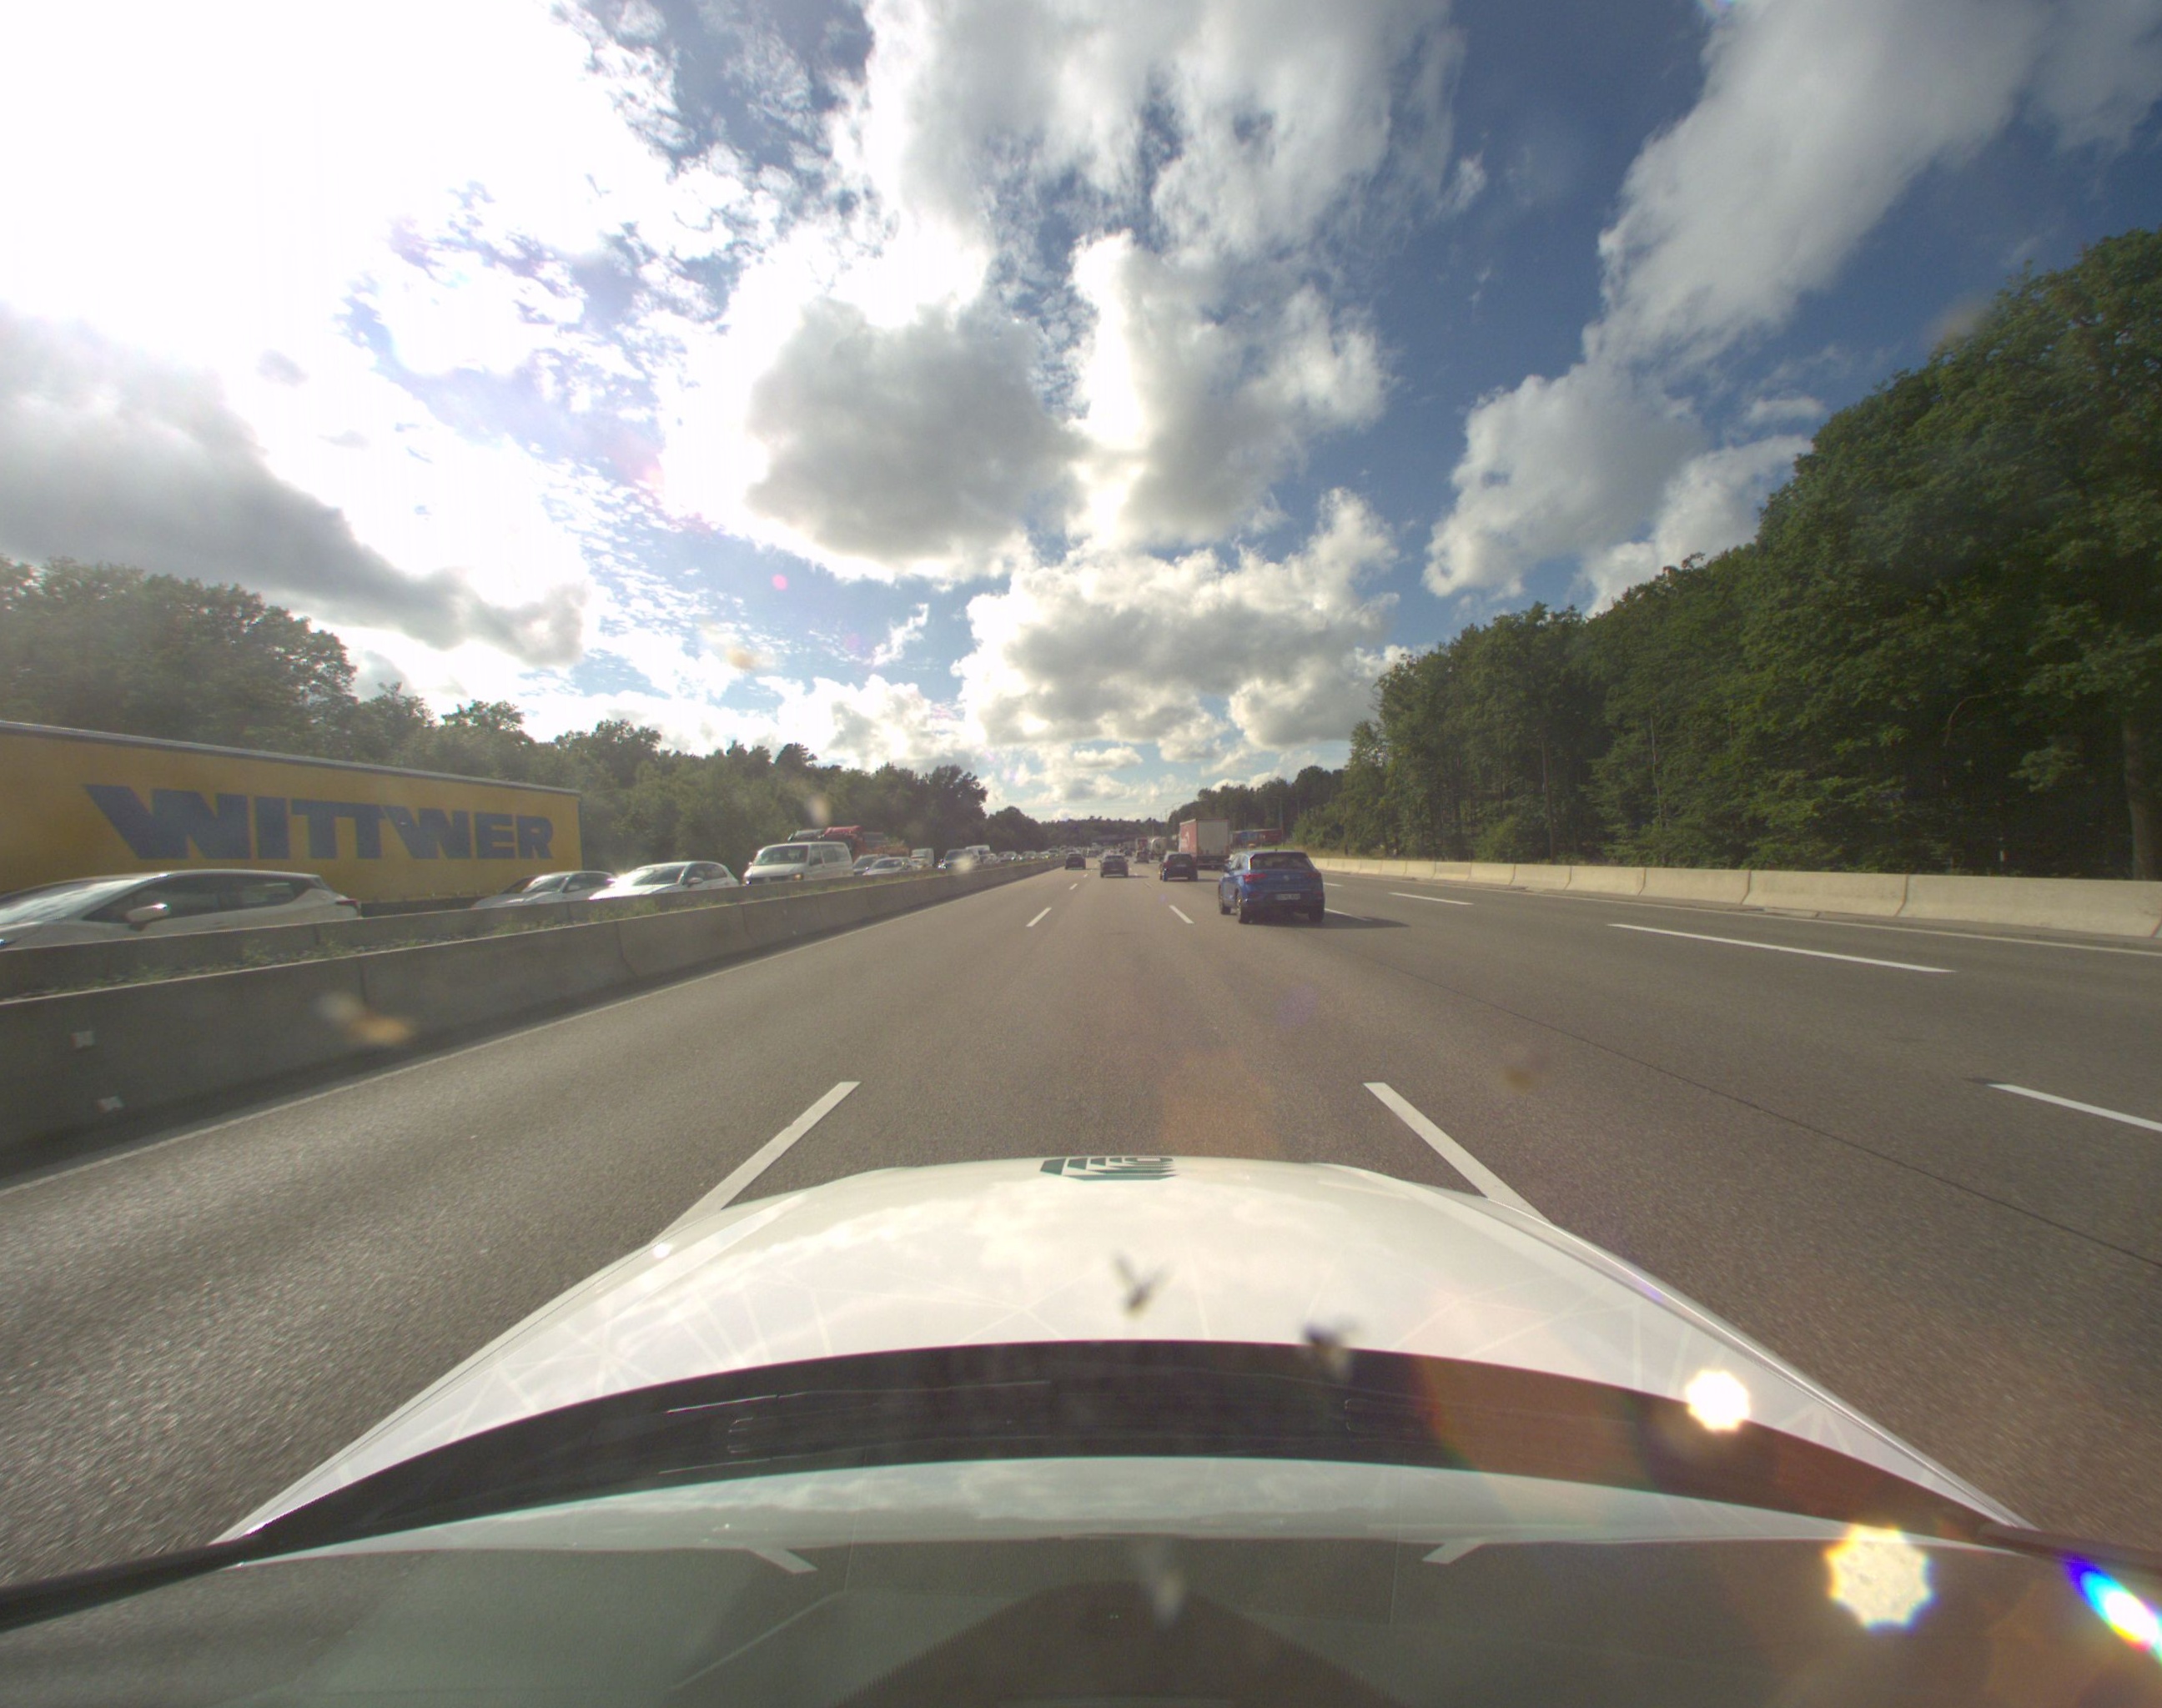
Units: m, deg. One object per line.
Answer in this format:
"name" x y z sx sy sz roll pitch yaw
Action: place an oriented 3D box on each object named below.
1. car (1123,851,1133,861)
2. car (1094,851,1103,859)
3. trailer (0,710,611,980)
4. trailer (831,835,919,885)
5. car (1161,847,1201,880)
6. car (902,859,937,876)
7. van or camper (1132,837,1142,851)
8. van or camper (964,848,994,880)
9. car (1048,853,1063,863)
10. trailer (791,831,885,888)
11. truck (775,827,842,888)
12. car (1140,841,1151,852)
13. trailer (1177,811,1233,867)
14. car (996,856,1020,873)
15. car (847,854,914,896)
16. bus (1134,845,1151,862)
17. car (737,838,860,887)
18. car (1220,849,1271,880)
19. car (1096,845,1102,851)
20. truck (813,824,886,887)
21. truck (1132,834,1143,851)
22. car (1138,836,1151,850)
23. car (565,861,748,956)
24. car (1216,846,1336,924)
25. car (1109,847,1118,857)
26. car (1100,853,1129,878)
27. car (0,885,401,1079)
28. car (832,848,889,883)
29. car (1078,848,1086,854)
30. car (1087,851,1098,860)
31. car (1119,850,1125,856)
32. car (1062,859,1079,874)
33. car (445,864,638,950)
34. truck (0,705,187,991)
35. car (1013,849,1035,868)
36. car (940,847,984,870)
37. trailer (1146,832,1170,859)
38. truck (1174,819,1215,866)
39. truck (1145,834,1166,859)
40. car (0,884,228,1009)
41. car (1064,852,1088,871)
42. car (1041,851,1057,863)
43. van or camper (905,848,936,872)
"car" 9.765 0.367 170.295 1.986 2.014 4.002 0 -1 2
"car" 4.252 0.252 195.475 1.986 2.013 4.002 0 0 2
"trailer" -16.809 0.002 19.634 2.761 4.235 13.662 -1 -1 1
"trailer" -15.158 0.338 61.405 2.718 3.335 14.223 -1 0 1
"car" 5.204 0.505 42.919 1.792 1.644 4.002 0 -1 2
"car" -11.200 0.941 56.741 1.579 1.127 4.001 0 0 1
"van or camper" 13.993 -2.471 202.857 2.341 3.144 5.715 -1 -1 3
"van or camper" -10.366 0.973 82.940 2.131 3.172 6.246 0 0 1
"car" -4.210 0.689 134.205 1.985 1.572 4.820 -1 0 3
"trailer" -19.040 0.346 65.180 2.798 4.119 14.050 0 0 2
"truck" -19.408 0.233 58.279 2.801 4.149 5.454 -1 0 1
"car" 13.357 -1.536 168.511 1.986 2.014 4.001 -1 -1 2
"trailer" 10.078 -1.006 67.719 3.027 4.035 13.895 -1 -1 2
"car" -6.929 0.972 77.567 1.829 1.591 4.290 0 0 1
"car" -8.230 0.816 33.774 1.717 1.603 4.001 0 0 1
"bus" 7.657 0.000 102.058 1.985 2.014 4.002 -1 -1 2
"car" -8.702 0.292 25.669 1.843 1.354 5.489 -1 -1 1
"car" 8.699 0.549 43.383 1.710 1.511 4.299 -2 -1 -2
"car" 5.147 -1.707 235.834 1.617 1.470 3.817 0 0 3
"truck" -15.313 0.088 54.371 2.766 3.938 6.854 -1 0 1
"truck" 13.594 -2.728 196.426 2.348 3.572 11.275 -1 -1 3
"car" 13.875 -2.400 178.298 2.854 2.992 5.153 -1 -1 3
"car" -9.102 1.093 17.925 1.681 1.816 4.296 -1 -1 1
"car" 4.262 0.604 18.561 1.916 1.541 4.650 0 0 4
"car" 7.430 -0.472 188.051 1.986 2.014 4.001 -2 -1 2
"car" 2.078 0.706 51.605 1.728 1.365 4.000 0 2 0
"car" -9.472 1.095 8.219 1.751 1.377 4.001 1 0 1
"car" -11.893 0.574 44.145 1.739 1.766 4.615 0 0 1
"car" 0.213 -0.851 228.929 1.985 1.572 5.334 1 1 3
"car" 2.280 0.337 165.867 2.146 1.776 4.002 0 -1 2
"car" 12.803 -0.328 255.005 1.986 2.013 4.002 0 0 2
"car" -1.415 1.647 112.169 1.984 1.920 4.005 -1 1 4
"car" -12.731 1.180 19.601 1.681 1.816 4.296 -1 -1 1
"truck" -17.009 -0.080 11.361 2.726 4.148 5.618 -1 -1 1
"car" -6.255 0.482 90.027 1.874 2.013 4.523 0 0 3
"car" -7.645 0.273 52.988 1.808 1.349 6.234 0 0 1
"trailer" 12.507 -1.240 133.058 3.025 4.016 12.249 -1 -1 2
"truck" 10.337 -0.986 74.502 3.068 4.064 6.072 -1 -1 2
"truck" 12.709 -1.200 139.656 3.034 4.160 7.130 -1 -1 2
"car" -13.331 1.111 9.939 1.727 1.401 3.837 -1 -1 1
"car" -0.438 0.693 76.586 1.985 1.776 4.003 -1 0 2
"car" -4.785 0.482 121.956 1.986 1.735 5.093 0 0 2
"van or camper" -21.627 0.840 109.938 2.563 3.077 7.197 -1 0 1
